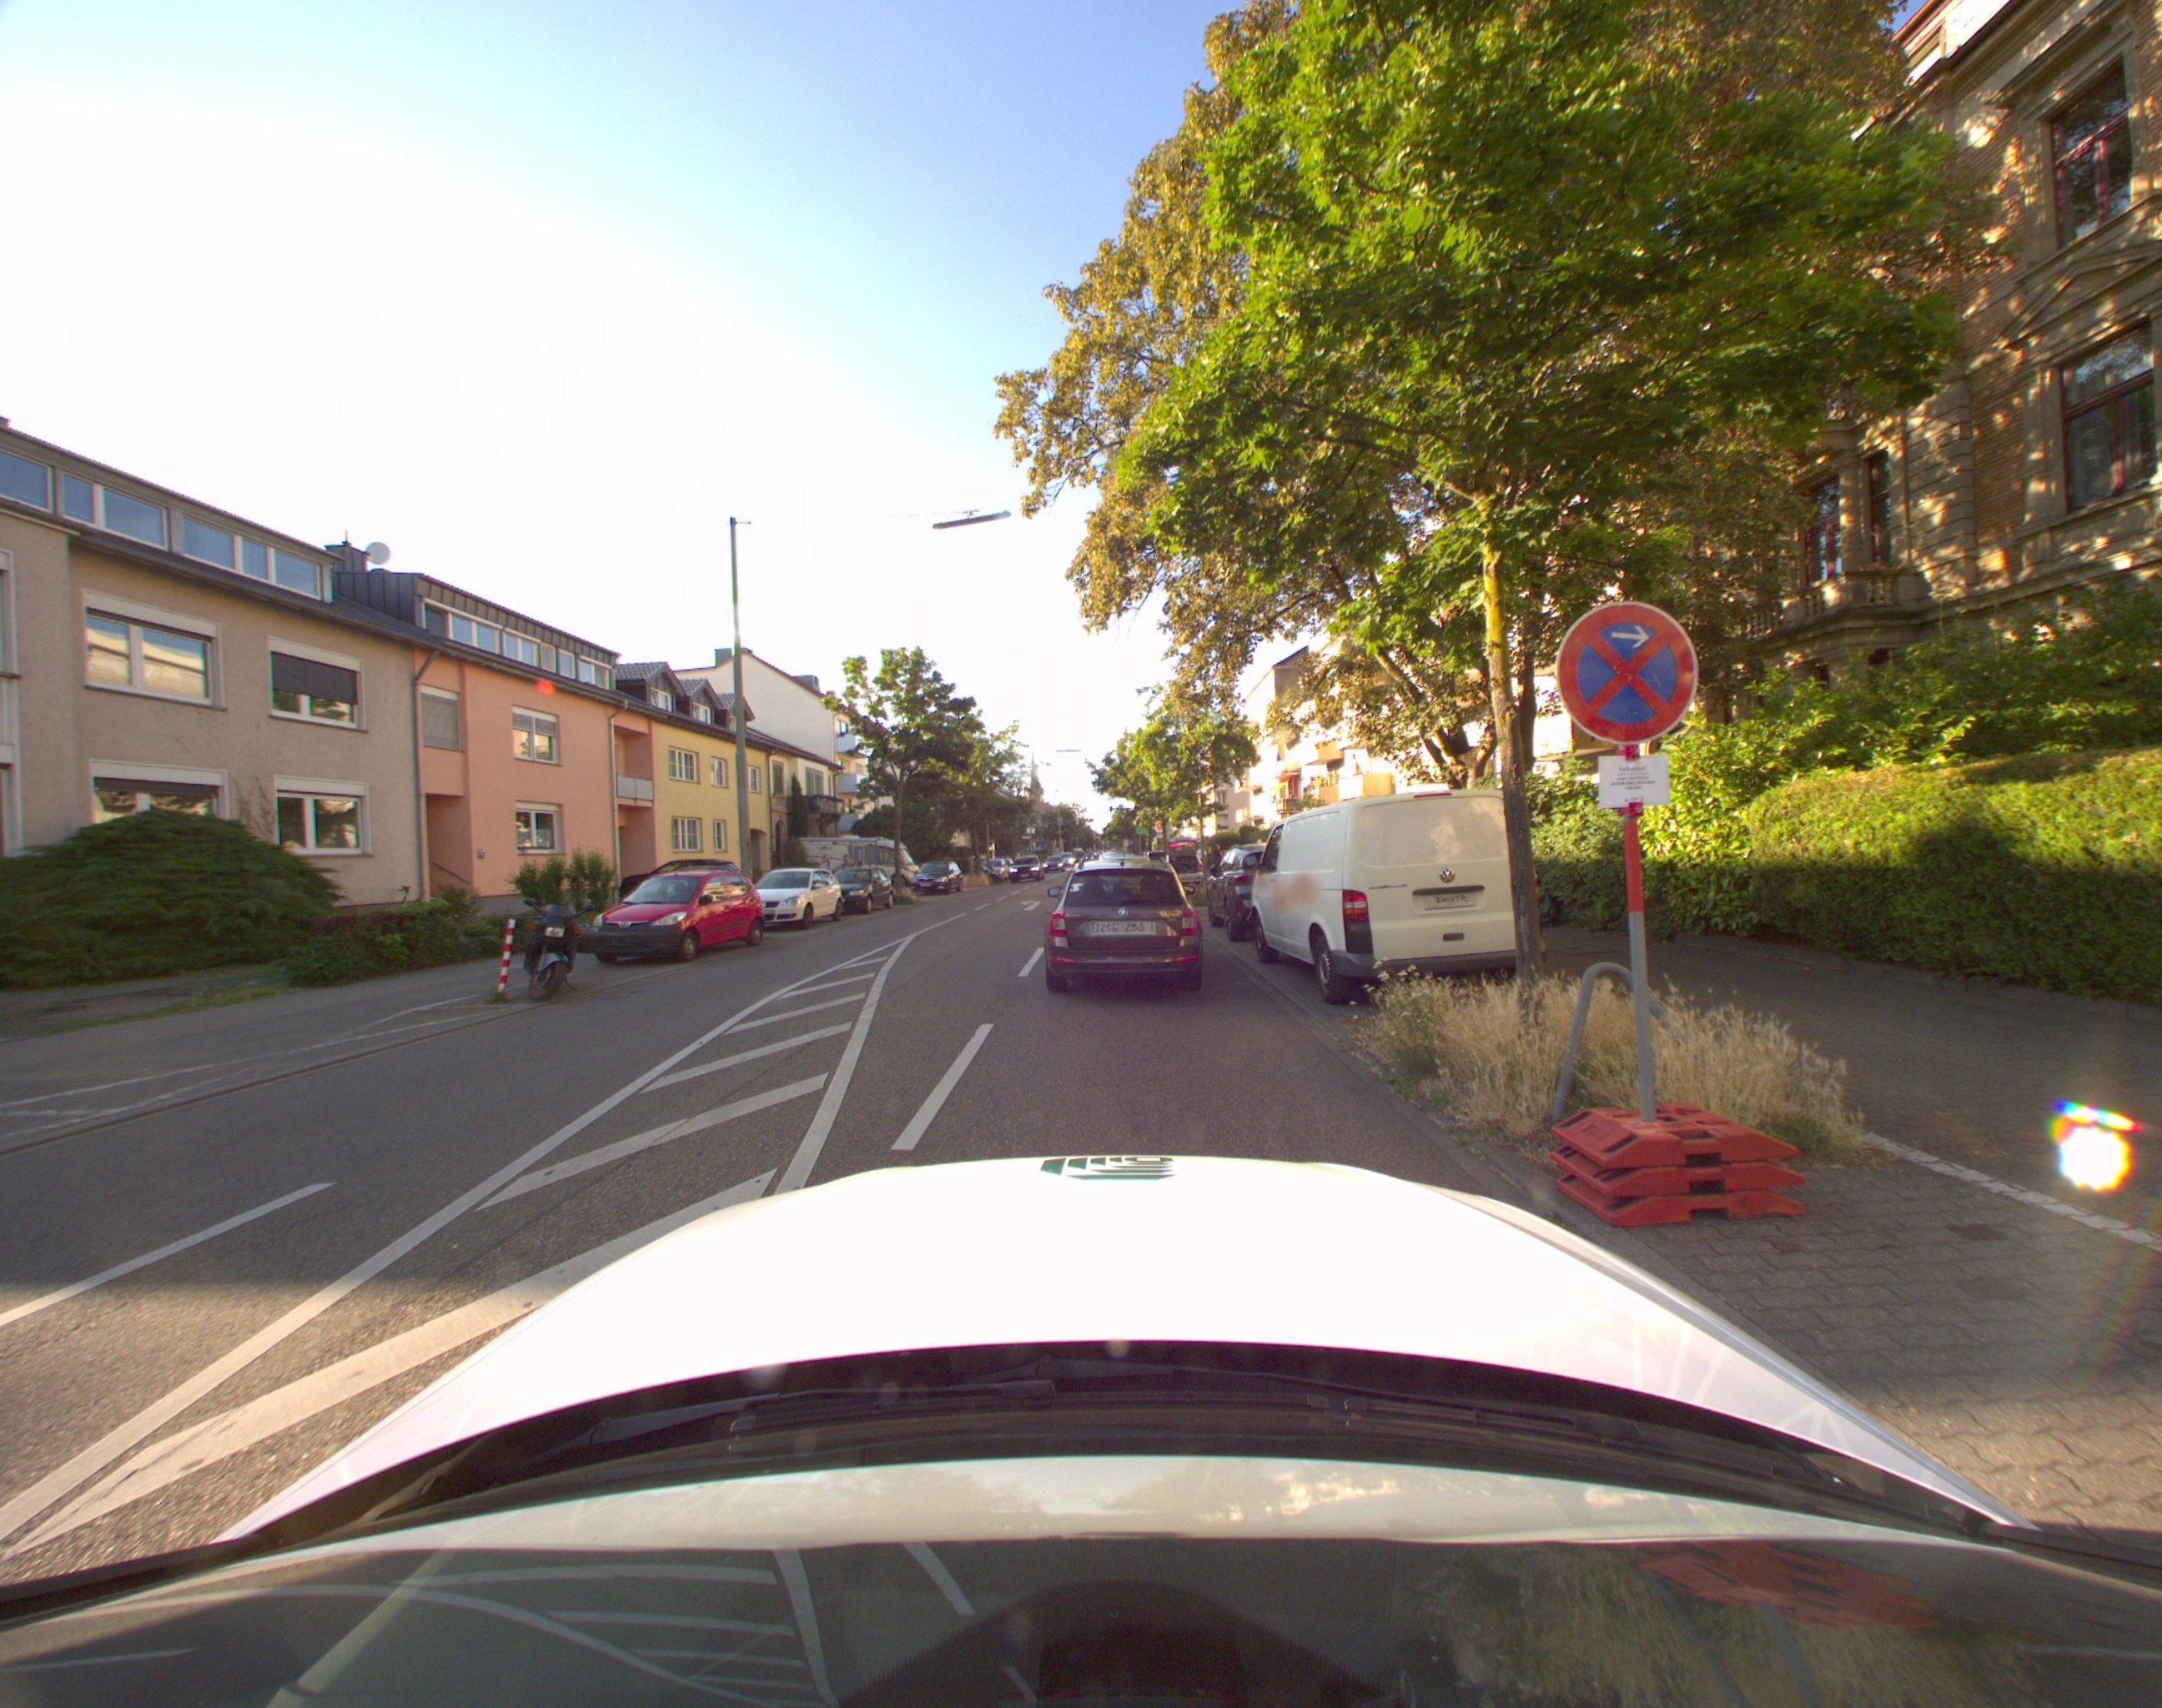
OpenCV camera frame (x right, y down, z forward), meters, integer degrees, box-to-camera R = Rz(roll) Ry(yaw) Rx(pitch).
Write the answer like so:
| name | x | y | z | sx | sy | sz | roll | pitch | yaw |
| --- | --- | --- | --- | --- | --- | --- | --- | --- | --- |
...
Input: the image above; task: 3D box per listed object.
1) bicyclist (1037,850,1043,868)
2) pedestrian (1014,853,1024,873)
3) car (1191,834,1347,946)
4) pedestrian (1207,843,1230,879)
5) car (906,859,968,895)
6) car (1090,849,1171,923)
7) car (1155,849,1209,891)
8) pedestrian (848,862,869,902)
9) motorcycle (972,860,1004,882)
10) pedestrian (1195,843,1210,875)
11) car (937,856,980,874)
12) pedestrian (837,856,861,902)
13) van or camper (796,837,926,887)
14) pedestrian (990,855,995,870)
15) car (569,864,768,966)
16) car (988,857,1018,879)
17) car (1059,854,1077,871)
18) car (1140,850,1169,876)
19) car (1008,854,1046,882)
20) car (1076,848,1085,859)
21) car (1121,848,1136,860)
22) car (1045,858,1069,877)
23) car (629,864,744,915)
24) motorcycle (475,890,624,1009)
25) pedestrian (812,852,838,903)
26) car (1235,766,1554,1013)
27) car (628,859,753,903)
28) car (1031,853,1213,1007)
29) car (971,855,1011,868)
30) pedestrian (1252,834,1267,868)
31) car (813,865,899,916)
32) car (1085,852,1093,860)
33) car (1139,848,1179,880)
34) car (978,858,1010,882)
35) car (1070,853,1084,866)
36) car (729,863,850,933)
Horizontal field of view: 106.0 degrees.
| name | x | y | z | sx | sy | sz | roll | pitch | yaw |
| --- | --- | --- | --- | --- | --- | --- | --- | --- | --- |
| bicyclist | -3.818 | 0.464 | 75.506 | 0.467 | 1.663 | 0.552 | -2 | 0 | 1 |
| pedestrian | -6.118 | 0.880 | 79.996 | 0.777 | 1.987 | 0.821 | -3 | 0 | 2 |
| car | 3.235 | 0.559 | 14.923 | 1.849 | 1.603 | 4.313 | -5 | 0 | 1 |
| pedestrian | 6.410 | 0.337 | 38.024 | 0.748 | 1.640 | 0.700 | -3 | 0 | 38 |
| car | -6.546 | 1.020 | 37.450 | 1.860 | 1.494 | 4.520 | -1 | 0 | 2 |
| car | 1.160 | 0.686 | 19.473 | 1.730 | 1.571 | 4.003 | 0 | 0 | 3 |
| car | 4.066 | 0.595 | 33.313 | 1.702 | 1.480 | 4.270 | -4 | 0 | 2 |
| pedestrian | -8.665 | 1.074 | 31.701 | 0.587 | 1.496 | 0.543 | -2 | 0 | 4 |
| motorcycle | -5.778 | 1.052 | 50.665 | 2.028 | 1.265 | 0.772 | -3 | 0 | 40 |
| pedestrian | 6.830 | 0.257 | 45.762 | 0.660 | 1.749 | 0.773 | -4 | 0 | 3 |
| car | -14.204 | 1.278 | 94.951 | 4.617 | 1.811 | 1.862 | -2 | 0 | 1 |
| pedestrian | -9.312 | 0.983 | 32.661 | 0.710 | 1.792 | 0.572 | -2 | 0 | 4 |
| van or camper | -12.592 | 0.455 | 46.924 | 6.774 | 2.773 | 2.352 | 0 | 0 | 0 |
| pedestrian | -10.421 | 0.986 | 95.825 | 0.447 | 1.797 | 0.504 | -3 | 0 | 2 |
| car | -7.252 | 1.001 | 14.730 | 1.585 | 1.523 | 3.440 | -2 | 0 | 5 |
| car | -5.603 | 1.005 | 59.006 | 1.642 | 1.517 | 4.076 | -1 | 0 | 2 |
| car | -1.512 | 1.012 | 94.651 | 1.799 | 1.804 | 4.747 | -4 | 0 | 2 |
| car | 4.604 | 0.551 | 51.363 | 1.696 | 1.450 | 4.018 | -4 | 0 | 4 |
| car | -3.273 | 0.835 | 50.032 | 1.829 | 1.570 | 4.001 | -4 | -1 | 1 |
| car | -0.115 | -0.047 | 193.499 | 1.986 | 2.478 | 4.002 | -2 | 0 | 2 |
| car | 7.060 | 0.046 | 120.760 | 1.984 | 1.772 | 4.005 | 0 | 0 | 5 |
| car | -2.102 | 1.186 | 72.178 | 1.754 | 1.452 | 4.536 | -4 | 0 | 2 |
| car | -12.711 | 1.095 | 26.524 | 1.658 | 1.409 | 3.756 | -3 | 0 | 3 |
| motorcycle | -6.996 | 1.185 | 10.909 | 1.184 | 1.266 | 2.352 | -3 | 0 | -22 |
| pedestrian | -9.256 | 0.835 | 29.445 | 0.710 | 1.792 | 0.506 | -2 | 0 | 4 |
| car | 3.197 | 0.310 | 9.486 | 1.897 | 2.103 | 4.640 | -2 | 0 | 0 |
| car | -15.156 | 1.014 | 31.752 | 3.971 | 1.636 | 1.867 | 0 | 0 | 2 |
| car | 0.466 | 0.752 | 10.207 | 1.766 | 1.489 | 4.312 | -1 | 0 | 1 |
| car | -11.165 | 0.936 | 101.004 | 4.617 | 1.535 | 1.862 | -1 | 0 | 1 |
| pedestrian | 8.647 | -0.152 | 39.500 | 0.475 | 1.640 | 0.533 | -2 | 0 | -17 |
| car | -7.009 | 1.087 | 25.664 | 1.537 | 1.396 | 3.667 | -2 | 0 | 2 |
| car | 1.846 | 0.483 | 185.320 | 1.823 | 1.579 | 4.002 | -3 | 0 | 2 |
| car | 4.337 | 0.537 | 45.802 | 1.849 | 1.581 | 4.015 | -4 | 0 | 1 |
| car | -5.772 | 1.035 | 54.377 | 1.587 | 1.470 | 3.805 | 0 | 0 | 2 |
| car | -0.633 | 0.903 | 133.052 | 1.986 | 1.908 | 4.965 | -4 | 0 | 2 |
| car | -7.342 | 1.042 | 20.899 | 1.587 | 1.523 | 3.891 | -2 | 0 | 1 |
